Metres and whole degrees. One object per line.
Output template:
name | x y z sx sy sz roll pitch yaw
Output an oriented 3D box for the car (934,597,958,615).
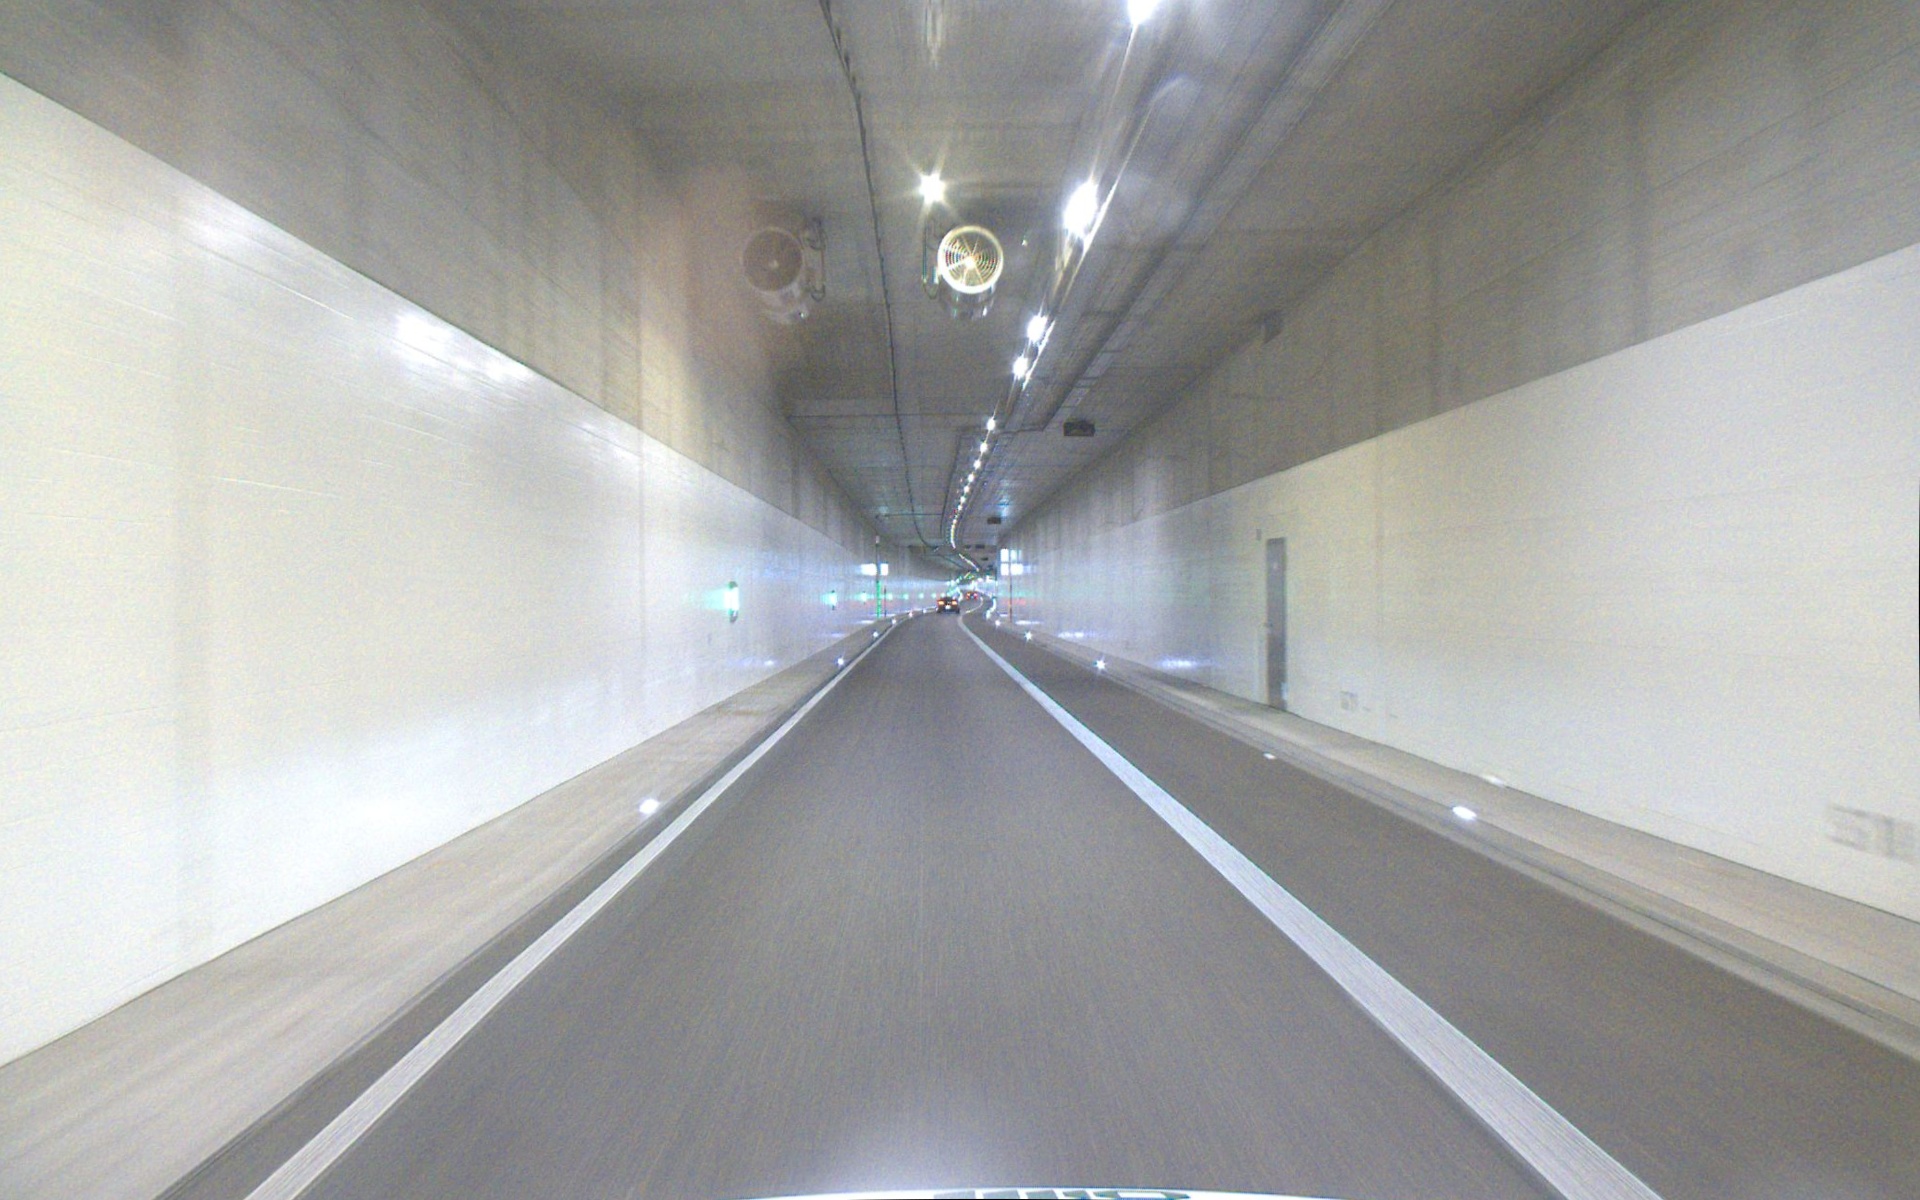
car | -1.157 0.484 137.859 1.953 1.445 3.999 0 0 -1
